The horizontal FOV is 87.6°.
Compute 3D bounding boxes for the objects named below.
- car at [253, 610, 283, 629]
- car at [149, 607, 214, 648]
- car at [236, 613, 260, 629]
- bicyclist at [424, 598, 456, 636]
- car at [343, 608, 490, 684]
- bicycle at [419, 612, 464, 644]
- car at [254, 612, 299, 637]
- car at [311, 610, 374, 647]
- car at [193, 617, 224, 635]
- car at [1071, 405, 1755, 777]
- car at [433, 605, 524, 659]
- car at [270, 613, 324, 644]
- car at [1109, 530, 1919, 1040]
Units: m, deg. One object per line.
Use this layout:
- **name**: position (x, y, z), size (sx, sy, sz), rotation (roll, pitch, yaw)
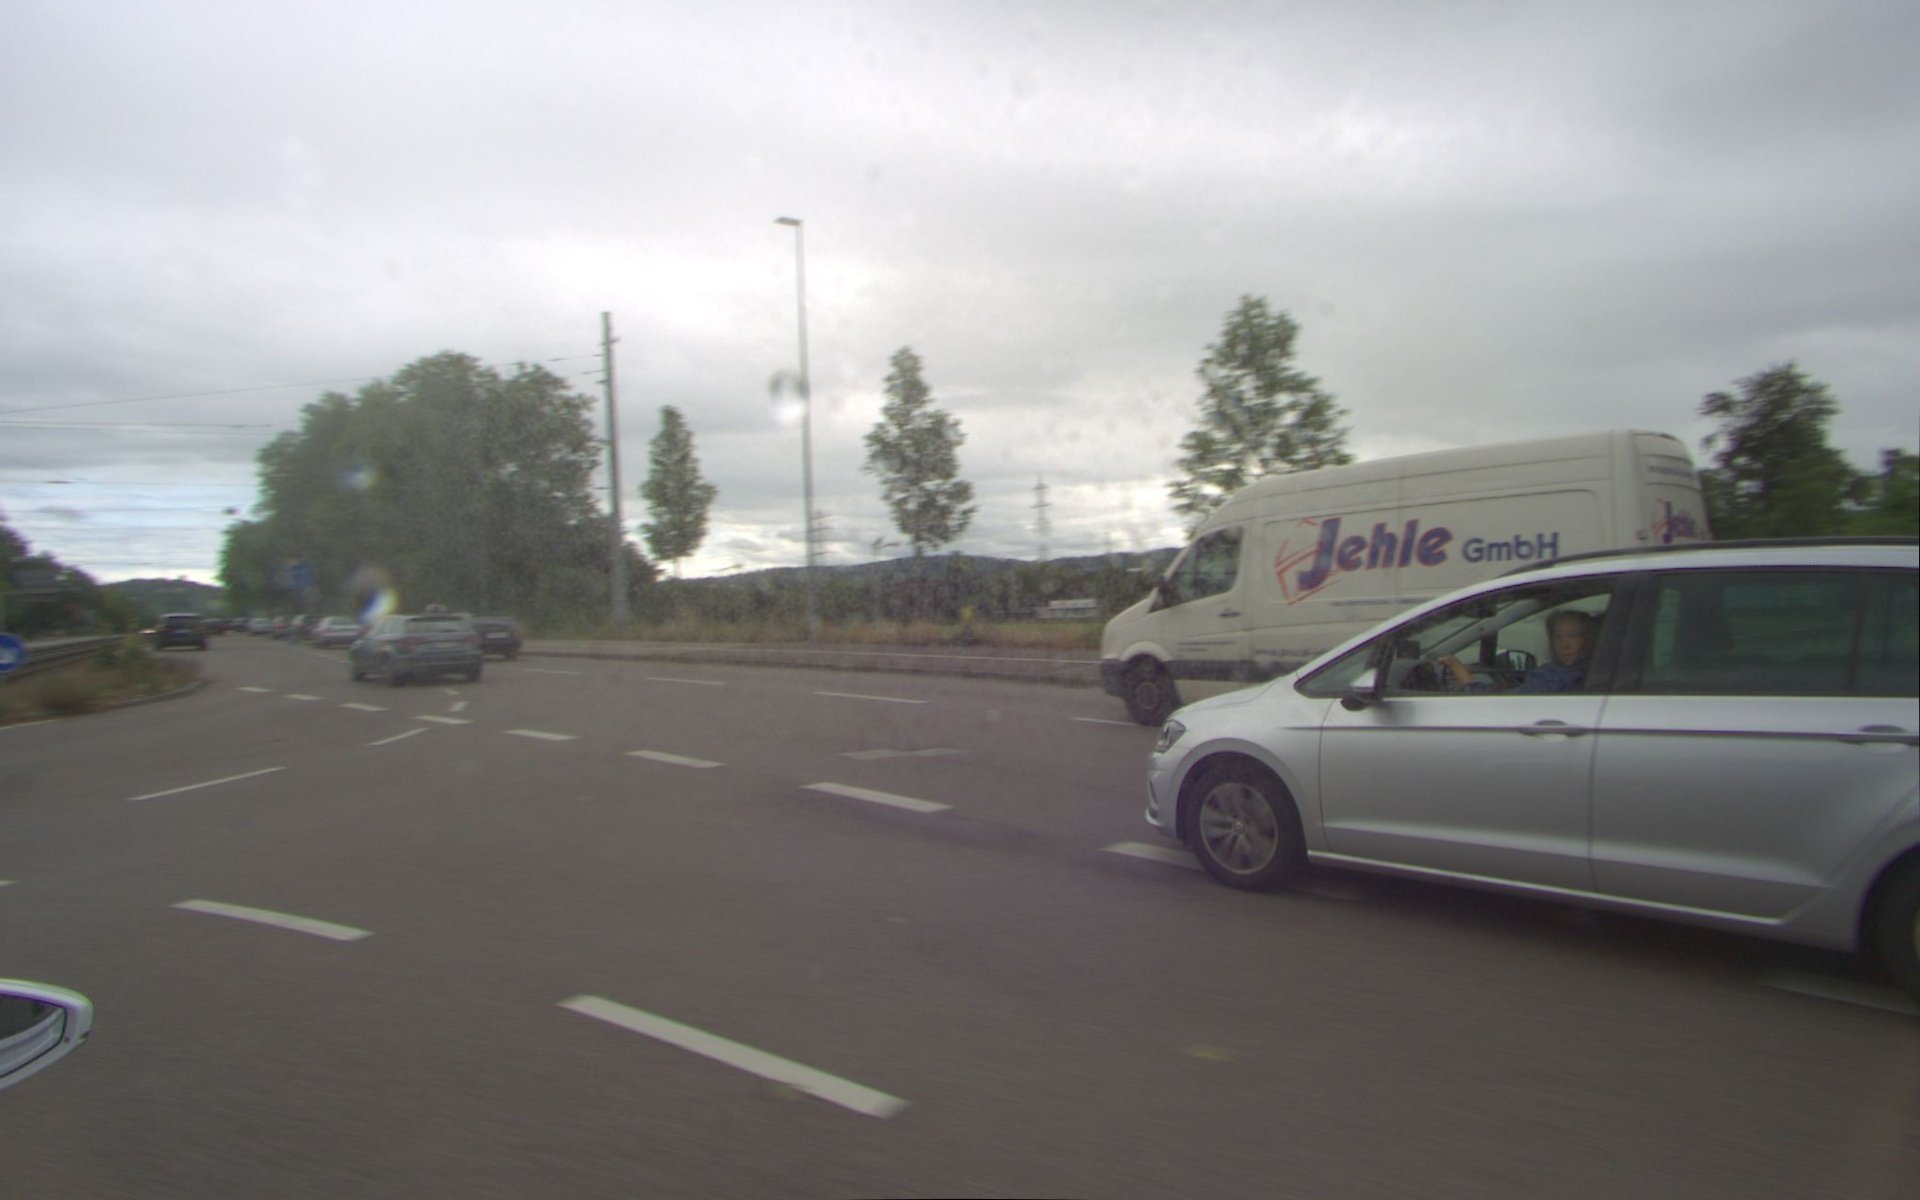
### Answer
- **car**: position (-57.425, 1.649, 83.121), size (1.799, 1.499, 3.644), rotation (-1, -1, -38)
- **car**: position (-34.573, 1.224, 44.436), size (1.819, 1.658, 4.276), rotation (-2, 0, -43)
- **car**: position (-71.088, 2.104, 99.986), size (1.799, 1.499, 3.644), rotation (-1, -1, -38)
- **bicyclist**: position (-21.278, 0.700, 40.964), size (0.989, 1.499, 0.811), rotation (0, 4, 43)
- **car**: position (-11.538, 0.926, 21.146), size (1.726, 1.420, 4.038), rotation (-2, 0, -43)
- **bicycle**: position (-21.267, 1.127, 41.043), size (2.495, 1.201, 0.811), rotation (0, 3, 44)
- **car**: position (-45.720, 1.632, 66.932), size (1.844, 1.581, 4.277), rotation (1, -2, -43)
- **car**: position (-27.283, 1.228, 44.216), size (1.715, 1.529, 3.599), rotation (-1, 0, -42)
- **car**: position (-62.318, 2.116, 82.995), size (1.734, 1.450, 3.344), rotation (-1, 0, -42)
- **car**: position (4.172, -0.017, 10.282), size (2.634, 2.660, 5.851), rotation (-1, 0, -39)
- **car**: position (-14.562, 0.974, 30.193), size (1.719, 1.498, 4.289), rotation (-1, -1, -36)
- **car**: position (-35.156, 1.522, 53.053), size (1.843, 1.581, 4.279), rotation (1, -2, -42)
- **car**: position (2.900, 0.583, 4.468), size (1.842, 1.572, 4.161), rotation (-1, 0, -44)
